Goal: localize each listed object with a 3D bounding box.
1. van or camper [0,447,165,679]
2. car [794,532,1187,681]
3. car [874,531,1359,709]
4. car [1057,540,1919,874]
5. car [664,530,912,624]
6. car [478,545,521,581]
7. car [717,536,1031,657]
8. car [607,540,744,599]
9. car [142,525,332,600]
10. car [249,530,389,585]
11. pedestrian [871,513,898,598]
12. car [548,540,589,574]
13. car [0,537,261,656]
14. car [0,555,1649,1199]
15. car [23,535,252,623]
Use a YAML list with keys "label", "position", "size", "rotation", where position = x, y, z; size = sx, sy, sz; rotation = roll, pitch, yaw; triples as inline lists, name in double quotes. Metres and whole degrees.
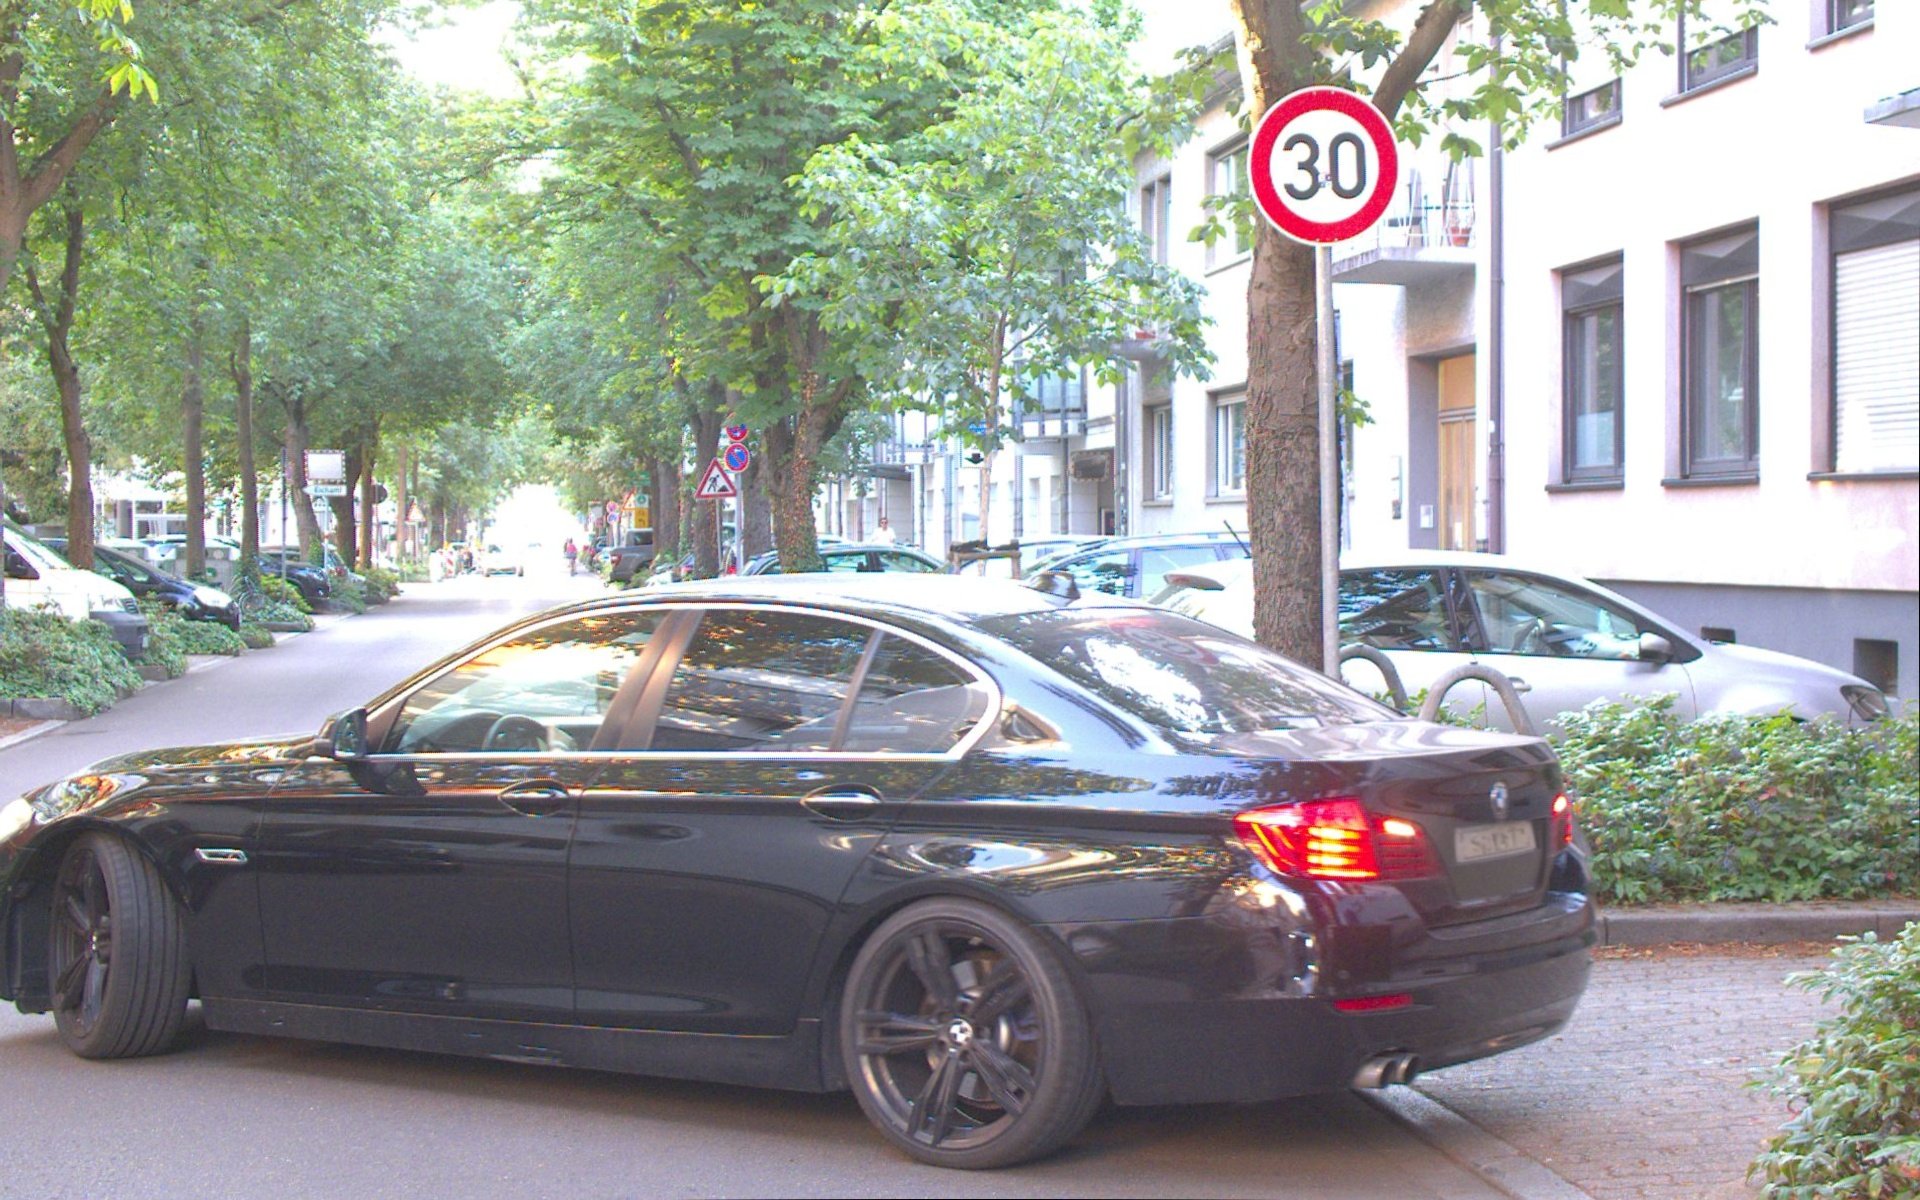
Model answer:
- label: "van or camper"
  position: [-11.159, -0.411, 37.445]
  size: [4.662, 2.470, 2.000]
  rotation: [0, 1, -7]
- label: "car"
  position: [0.288, 0.047, 36.550]
  size: [3.967, 1.522, 1.785]
  rotation: [0, 1, -7]
- label: "car"
  position: [1.327, 0.146, 30.095]
  size: [3.967, 1.471, 1.785]
  rotation: [0, 1, -8]
- label: "car"
  position: [2.538, 0.461, 16.477]
  size: [3.908, 1.471, 1.665]
  rotation: [0, 1, -8]
- label: "car"
  position: [-2.879, -0.398, 57.224]
  size: [3.967, 1.522, 1.785]
  rotation: [0, 1, -8]
- label: "car"
  position: [-20.319, -1.658, 151.862]
  size: [1.779, 1.557, 4.169]
  rotation: [0, 1, -6]
- label: "car"
  position: [-1.163, -0.066, 45.361]
  size: [3.967, 1.522, 1.785]
  rotation: [0, 1, -7]
- label: "car"
  position: [-8.384, -0.905, 101.176]
  size: [3.967, 1.678, 1.785]
  rotation: [0, 1, -5]
- label: "car"
  position: [-16.077, -0.841, 76.573]
  size: [3.967, 1.614, 1.785]
  rotation: [0, 1, -5]
- label: "car"
  position: [-19.233, -1.285, 103.308]
  size: [3.967, 1.614, 1.785]
  rotation: [0, 1, -5]
- label: "pedestrian"
  position: [-1.796, -1.051, 81.509]
  size: [0.589, 2.007, 0.669]
  rotation: [0, 1, -5]
- label: "car"
  position: [-18.028, -1.982, 158.457]
  size: [1.822, 1.525, 4.001]
  rotation: [-1, 1, -6]
- label: "car"
  position: [-11.957, -0.066, 48.443]
  size: [3.967, 1.614, 1.785]
  rotation: [0, 1, -6]
- label: "car"
  position: [-0.664, 0.620, 9.601]
  size: [4.754, 1.475, 1.797]
  rotation: [1, 1, 32]
- label: "car"
  position: [-15.496, -0.412, 64.909]
  size: [3.967, 1.614, 1.785]
  rotation: [0, 1, -5]
